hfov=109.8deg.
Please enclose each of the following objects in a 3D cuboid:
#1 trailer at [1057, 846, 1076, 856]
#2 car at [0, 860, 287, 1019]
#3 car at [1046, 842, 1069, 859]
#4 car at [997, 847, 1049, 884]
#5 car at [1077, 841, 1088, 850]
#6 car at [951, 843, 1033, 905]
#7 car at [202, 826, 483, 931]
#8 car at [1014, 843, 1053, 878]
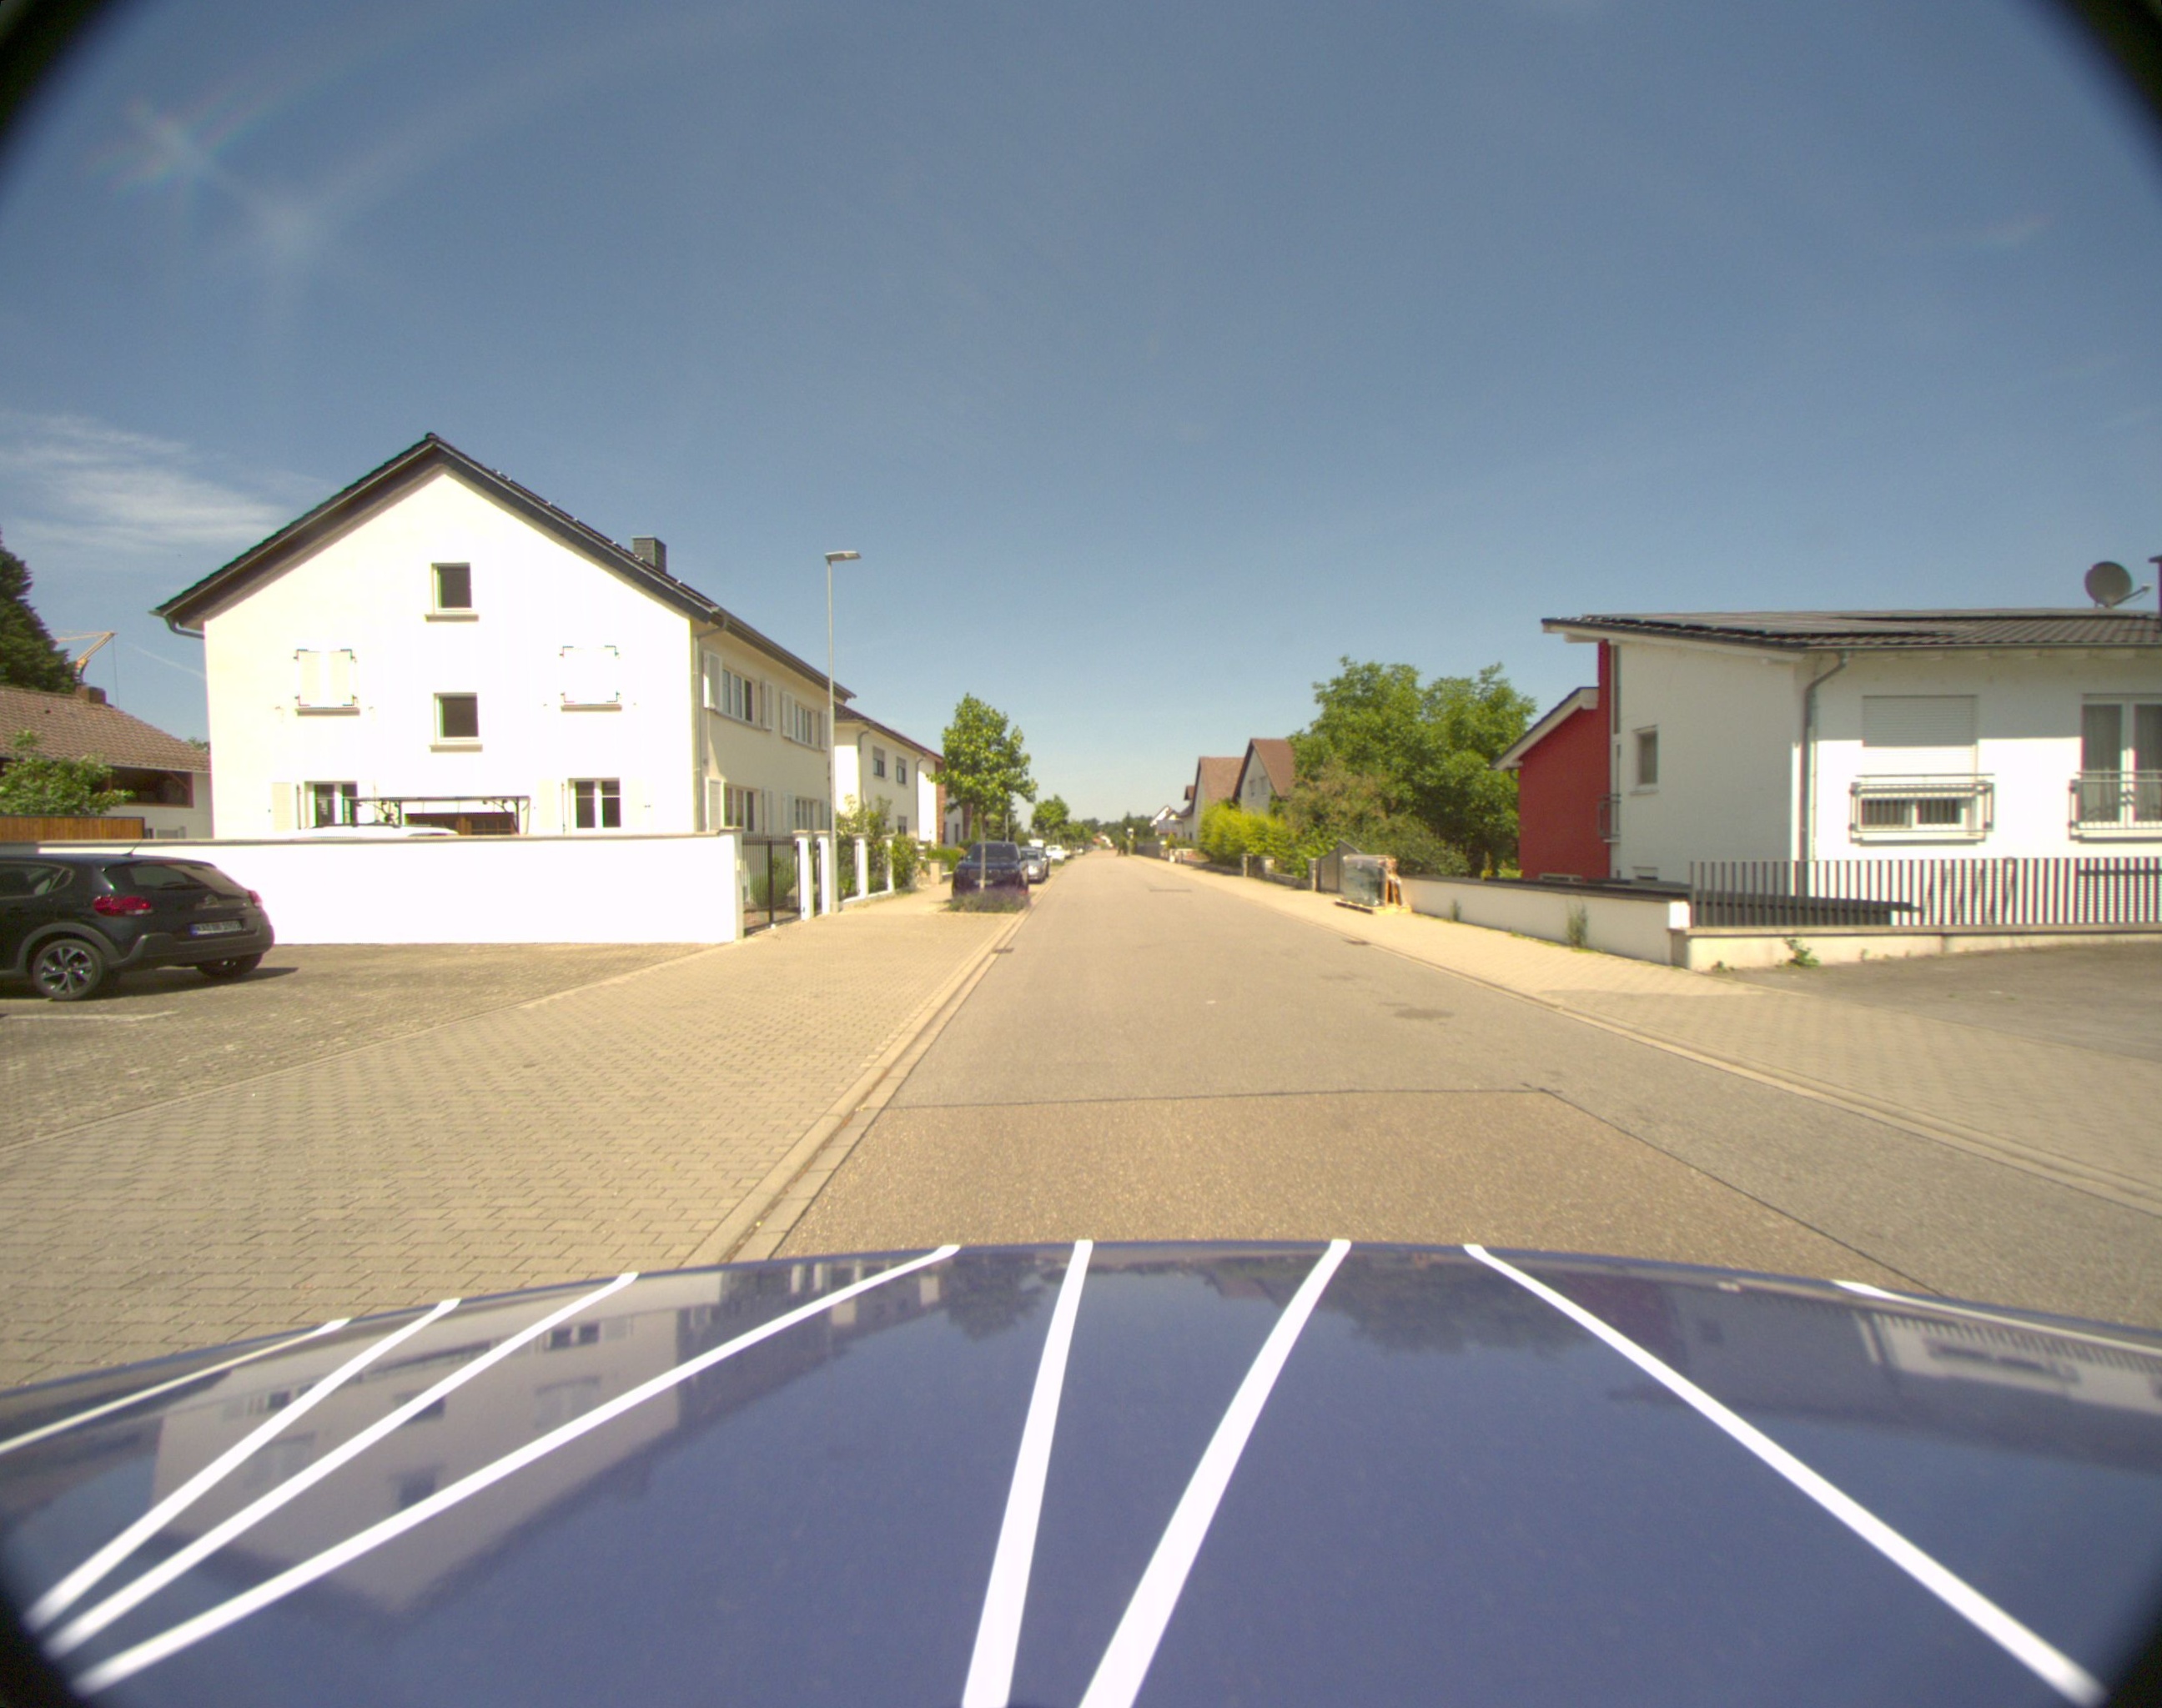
[{"bbox_3d":[-1.482,-0.323,79.623,1.792,1.052,2.898,-1,1,2],"label":"trailer"},{"bbox_3d":[-11.244,0.855,8.128,3.510,1.488,1.663,-1,1,-6],"label":"car"},{"bbox_3d":[-2.003,-0.308,64.954,1.819,1.412,3.867,-1,1,0],"label":"car"},{"bbox_3d":[-2.362,0.433,32.016,1.819,1.412,4.092,-1,1,1],"label":"car"},{"bbox_3d":[0.278,-1.473,133.779,1.597,1.630,3.803,0,1,4],"label":"car"},{"bbox_3d":[-2.531,0.521,22.637,1.819,1.647,4.564,-1,1,1],"label":"car"},{"bbox_3d":[-13.555,0.414,14.124,3.395,1.802,1.771,-1,1,-1],"label":"car"},{"bbox_3d":[-2.269,0.271,37.125,1.746,1.524,4.447,-1,1,-2],"label":"car"}]
